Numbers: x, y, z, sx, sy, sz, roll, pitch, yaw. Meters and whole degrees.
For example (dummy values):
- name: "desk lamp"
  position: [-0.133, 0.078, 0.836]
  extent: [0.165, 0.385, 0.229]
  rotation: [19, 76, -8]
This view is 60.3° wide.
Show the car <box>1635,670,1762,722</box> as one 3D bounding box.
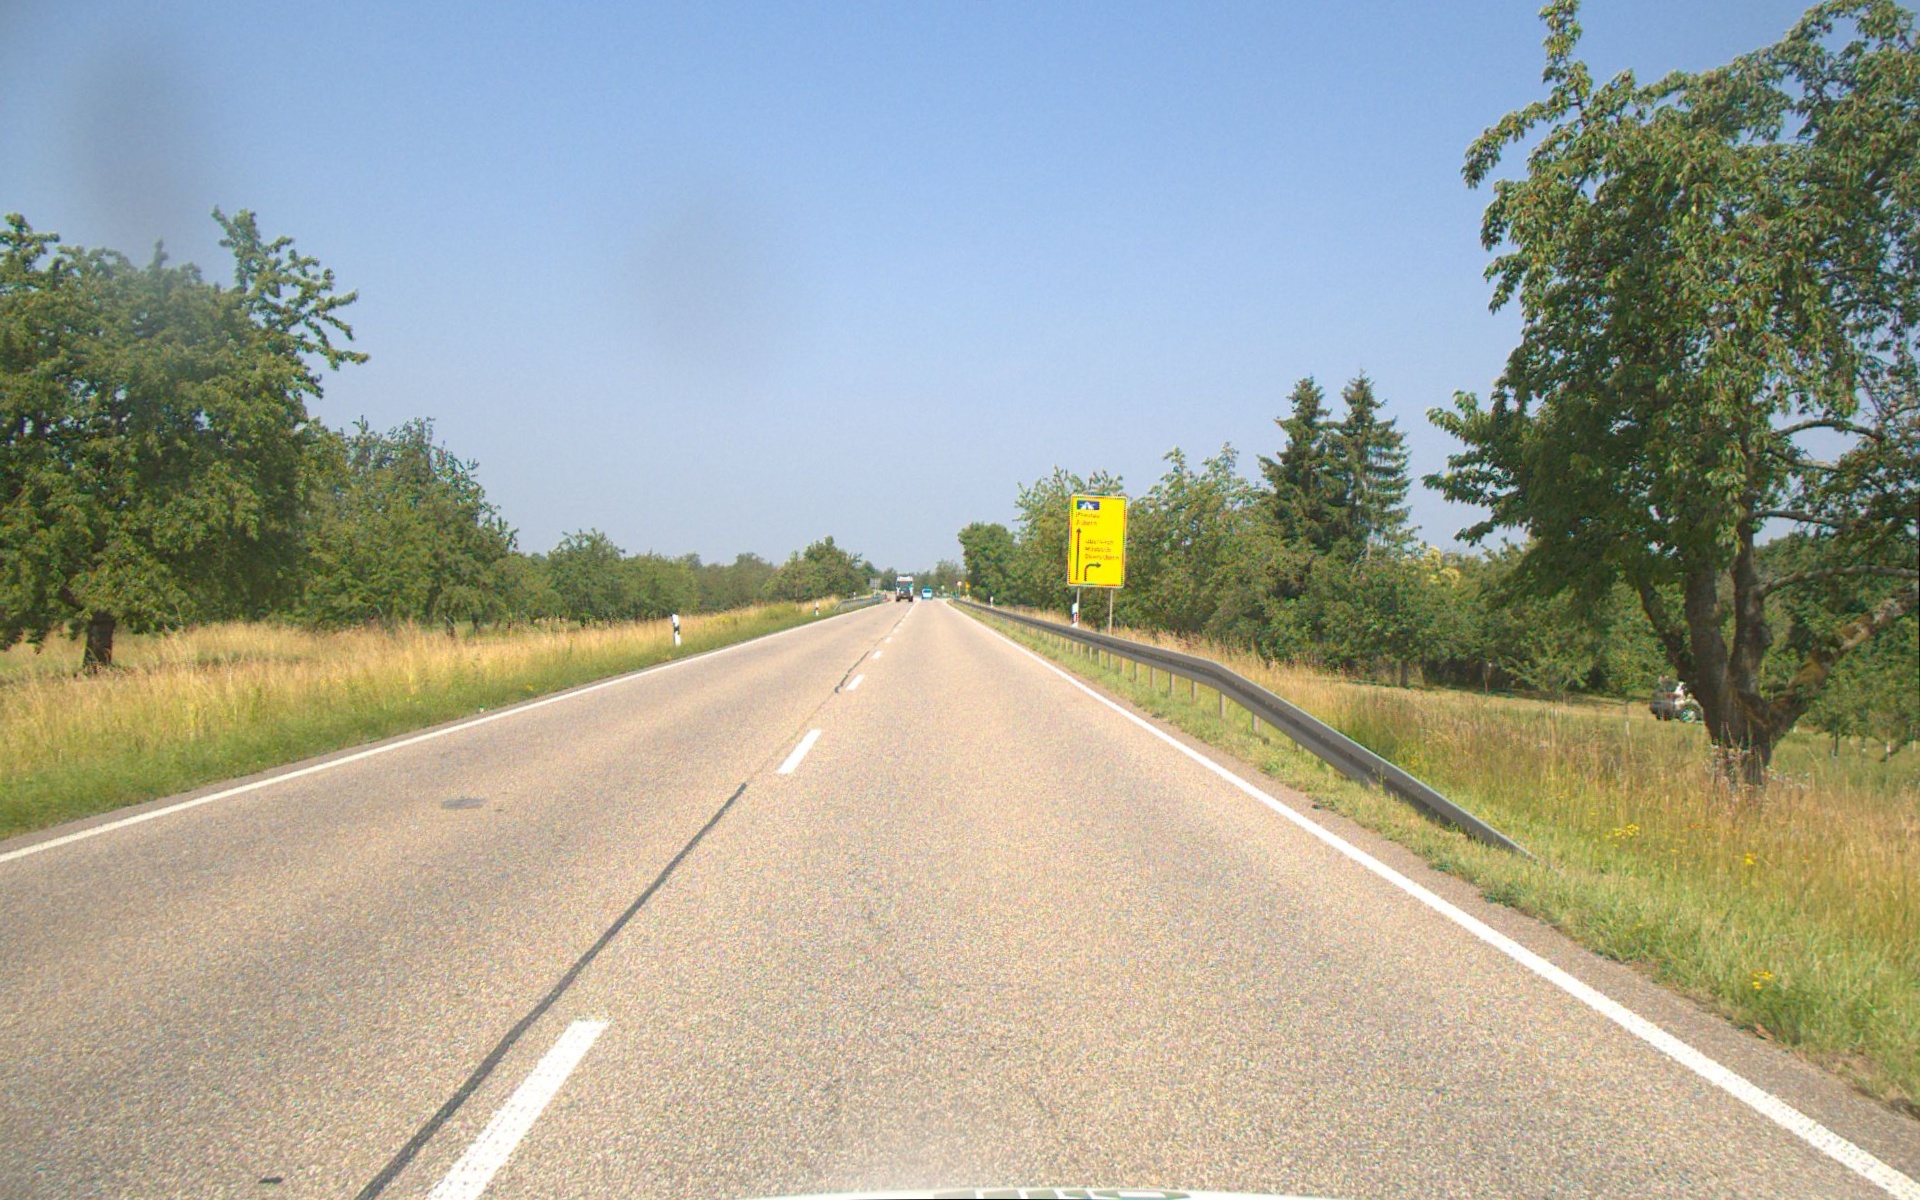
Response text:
- name: "car"
  position: [28.027, 3.643, 62.813]
  extent: [4.005, 1.561, 1.852]
  rotation: [5, -1, -10]

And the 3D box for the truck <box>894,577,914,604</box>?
- name: "truck"
  position: [-8.094, -1.366, 239.255]
  extent: [2.673, 3.736, 9.380]
  rotation: [1, 0, -1]
